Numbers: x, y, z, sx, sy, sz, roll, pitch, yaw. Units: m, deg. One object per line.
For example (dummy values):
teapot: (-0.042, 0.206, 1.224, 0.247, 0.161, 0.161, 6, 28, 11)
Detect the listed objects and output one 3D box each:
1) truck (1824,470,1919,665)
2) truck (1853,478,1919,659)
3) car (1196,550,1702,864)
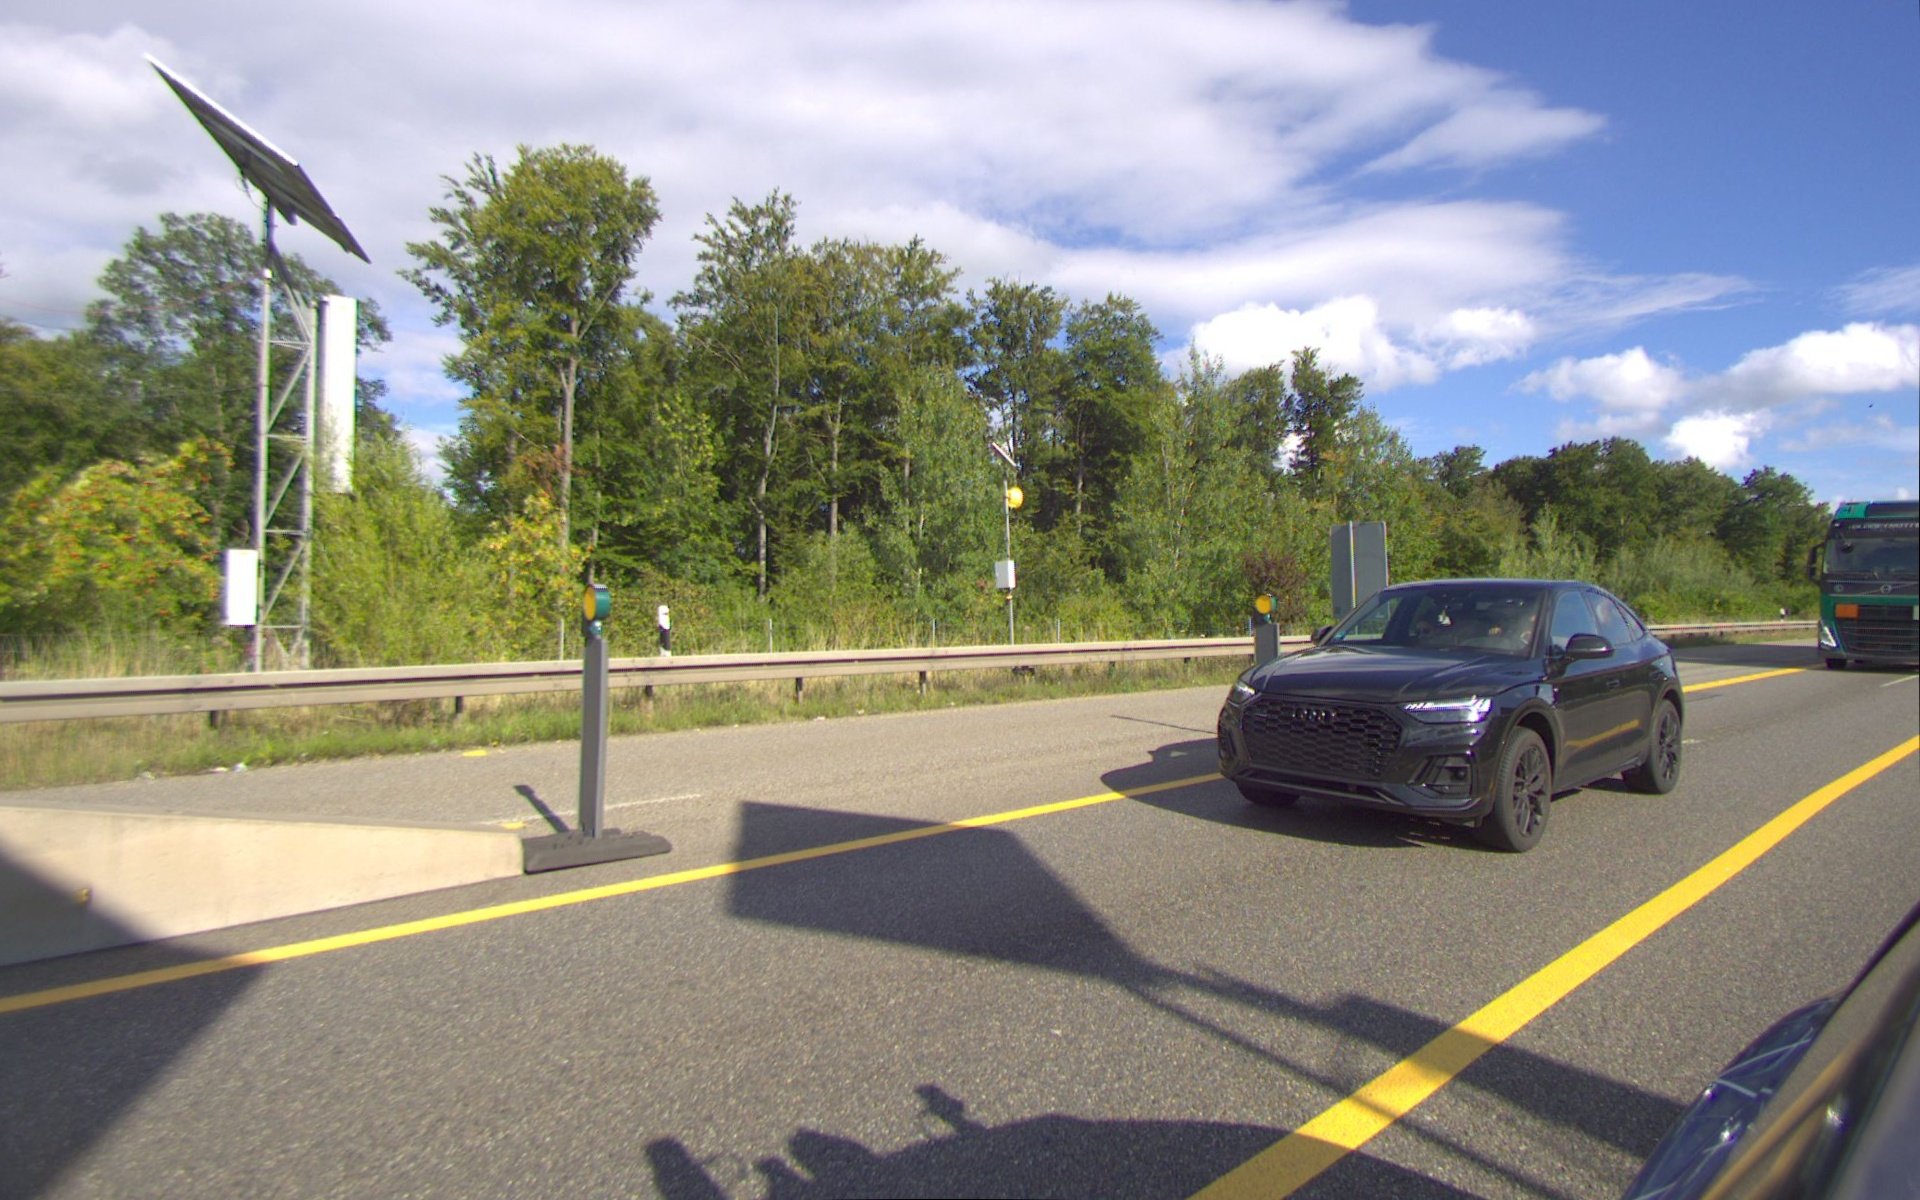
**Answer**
truck: (22.829, -0.696, 23.853, 6.732, 4.151, 2.527, 0, 0, -39)
truck: (27.632, -0.651, 27.675, 13.951, 4.196, 2.470, 1, -1, -39)
car: (3.707, 0.542, 7.306, 4.219, 1.623, 1.781, 0, 0, -41)
